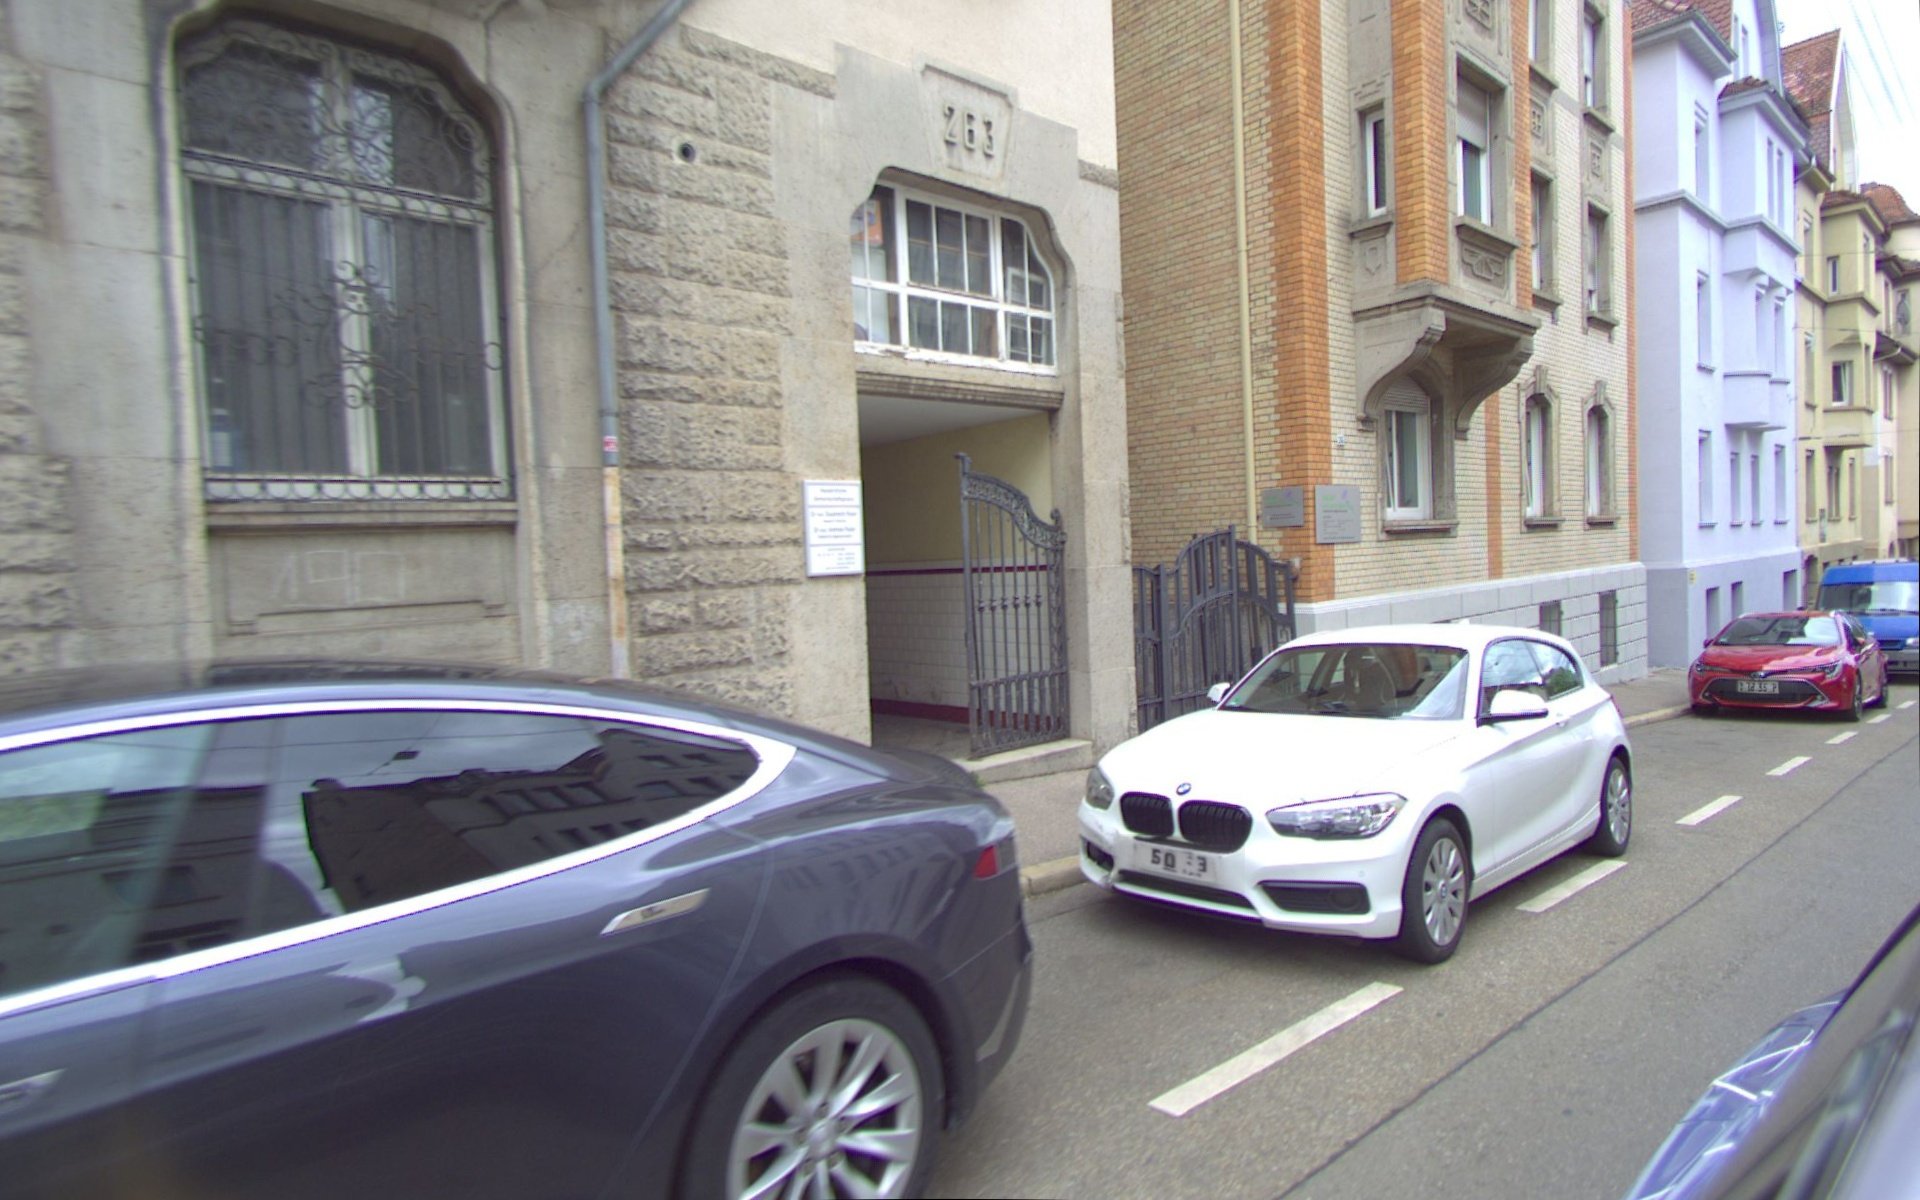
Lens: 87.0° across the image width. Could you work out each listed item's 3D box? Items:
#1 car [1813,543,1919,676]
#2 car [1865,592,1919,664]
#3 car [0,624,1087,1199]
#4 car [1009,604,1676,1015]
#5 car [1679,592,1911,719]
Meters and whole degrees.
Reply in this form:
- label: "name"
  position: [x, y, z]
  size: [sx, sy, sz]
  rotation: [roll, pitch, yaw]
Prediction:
- label: "car"
  position: [18.909, 0.136, 20.314]
  size: [4.968, 2.406, 1.997]
  rotation: [-1, 0, -41]
- label: "car"
  position: [22.570, 0.588, 23.497]
  size: [4.120, 1.550, 1.781]
  rotation: [-1, -3, -42]
- label: "car"
  position: [-1.971, 0.819, 1.846]
  size: [4.612, 1.408, 1.781]
  rotation: [-1, -1, -42]
- label: "car"
  position: [2.403, 0.779, 5.706]
  size: [4.234, 1.408, 1.752]
  rotation: [-1, -1, -42]
- label: "car"
  position: [11.897, 0.683, 14.315]
  size: [4.510, 1.494, 1.782]
  rotation: [-1, -1, -41]
